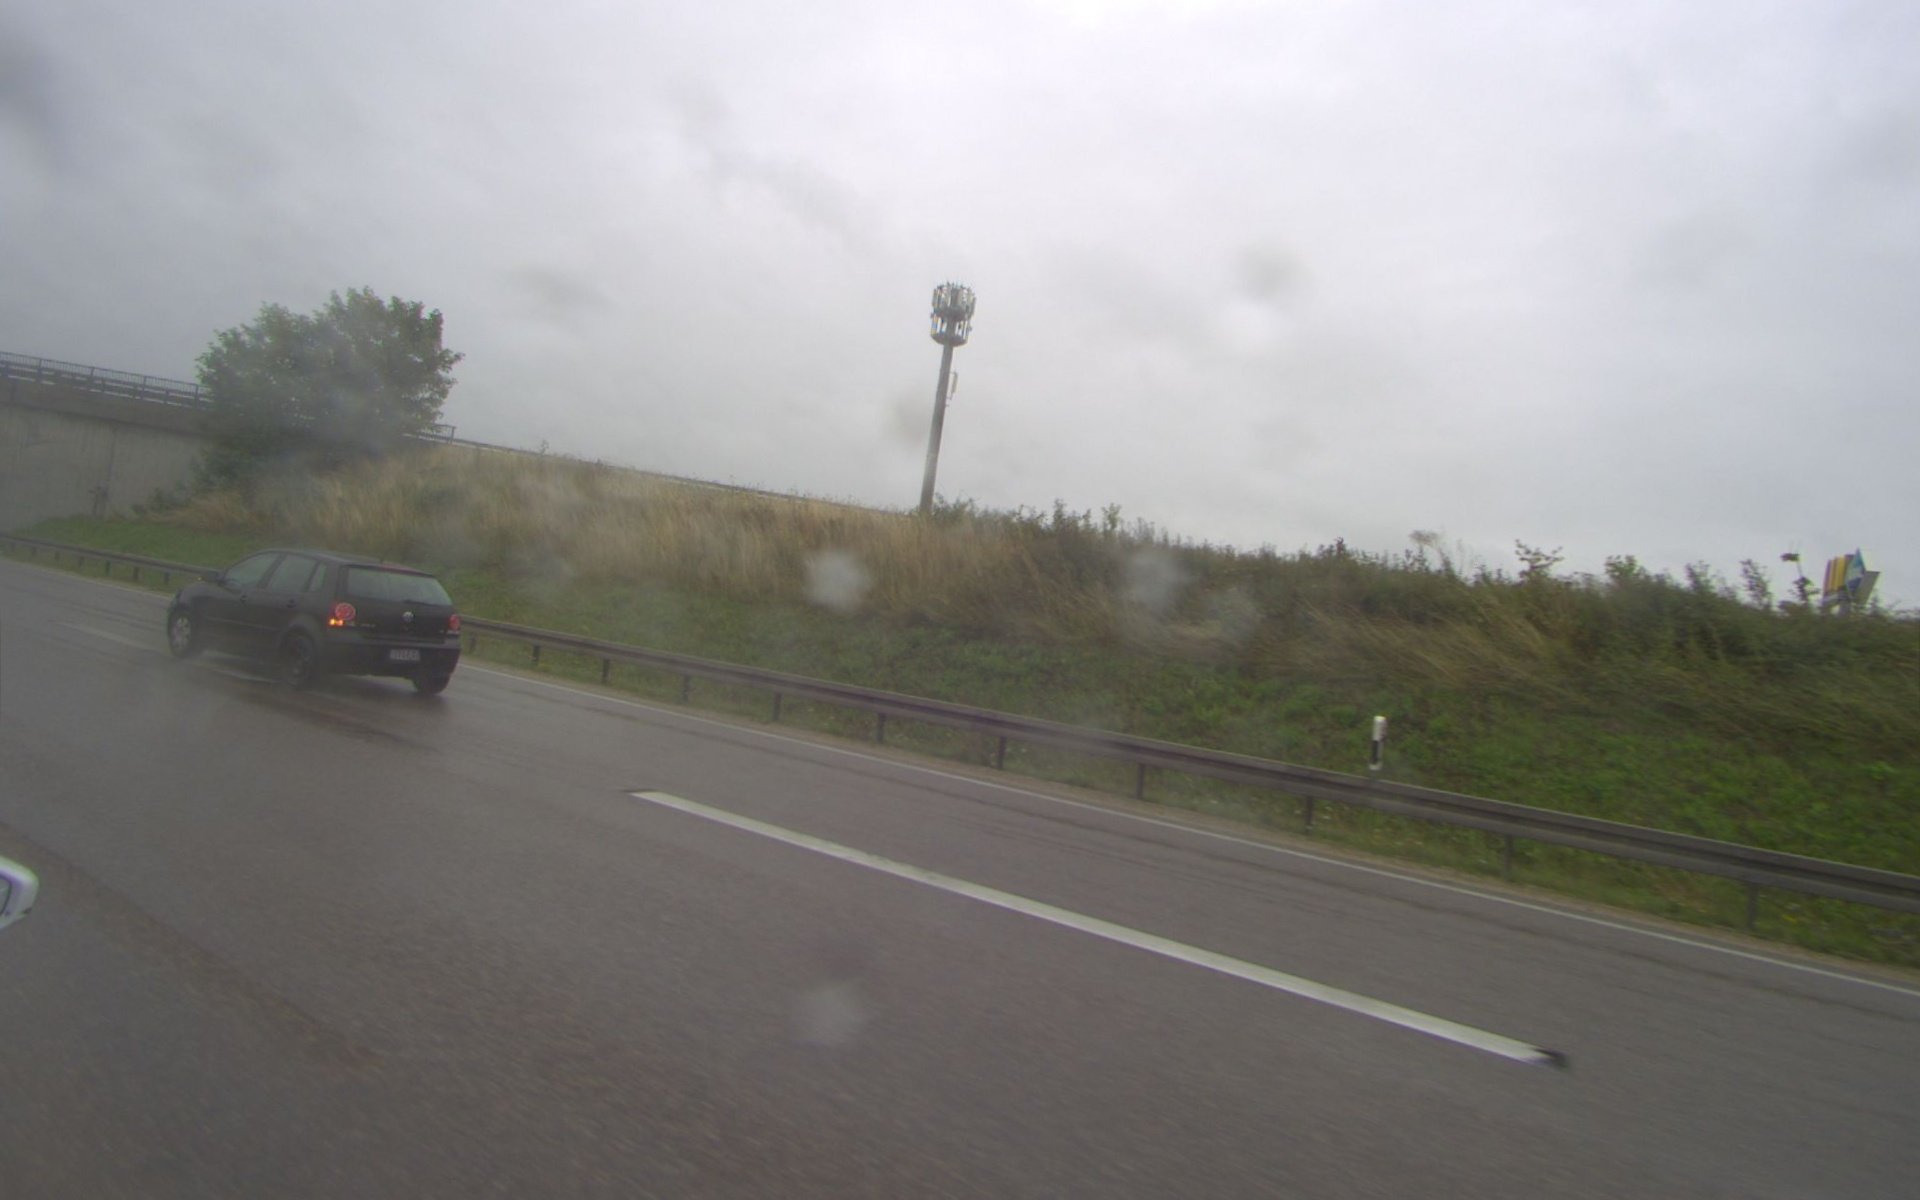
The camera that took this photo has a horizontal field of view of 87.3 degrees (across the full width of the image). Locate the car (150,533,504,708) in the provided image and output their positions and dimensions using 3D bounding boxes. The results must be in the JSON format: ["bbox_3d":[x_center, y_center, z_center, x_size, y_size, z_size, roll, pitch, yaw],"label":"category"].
[{"bbox_3d":[-7.156,0.220,11.344,3.595,1.437,1.736,7,-2,29],"label":"car"}]
